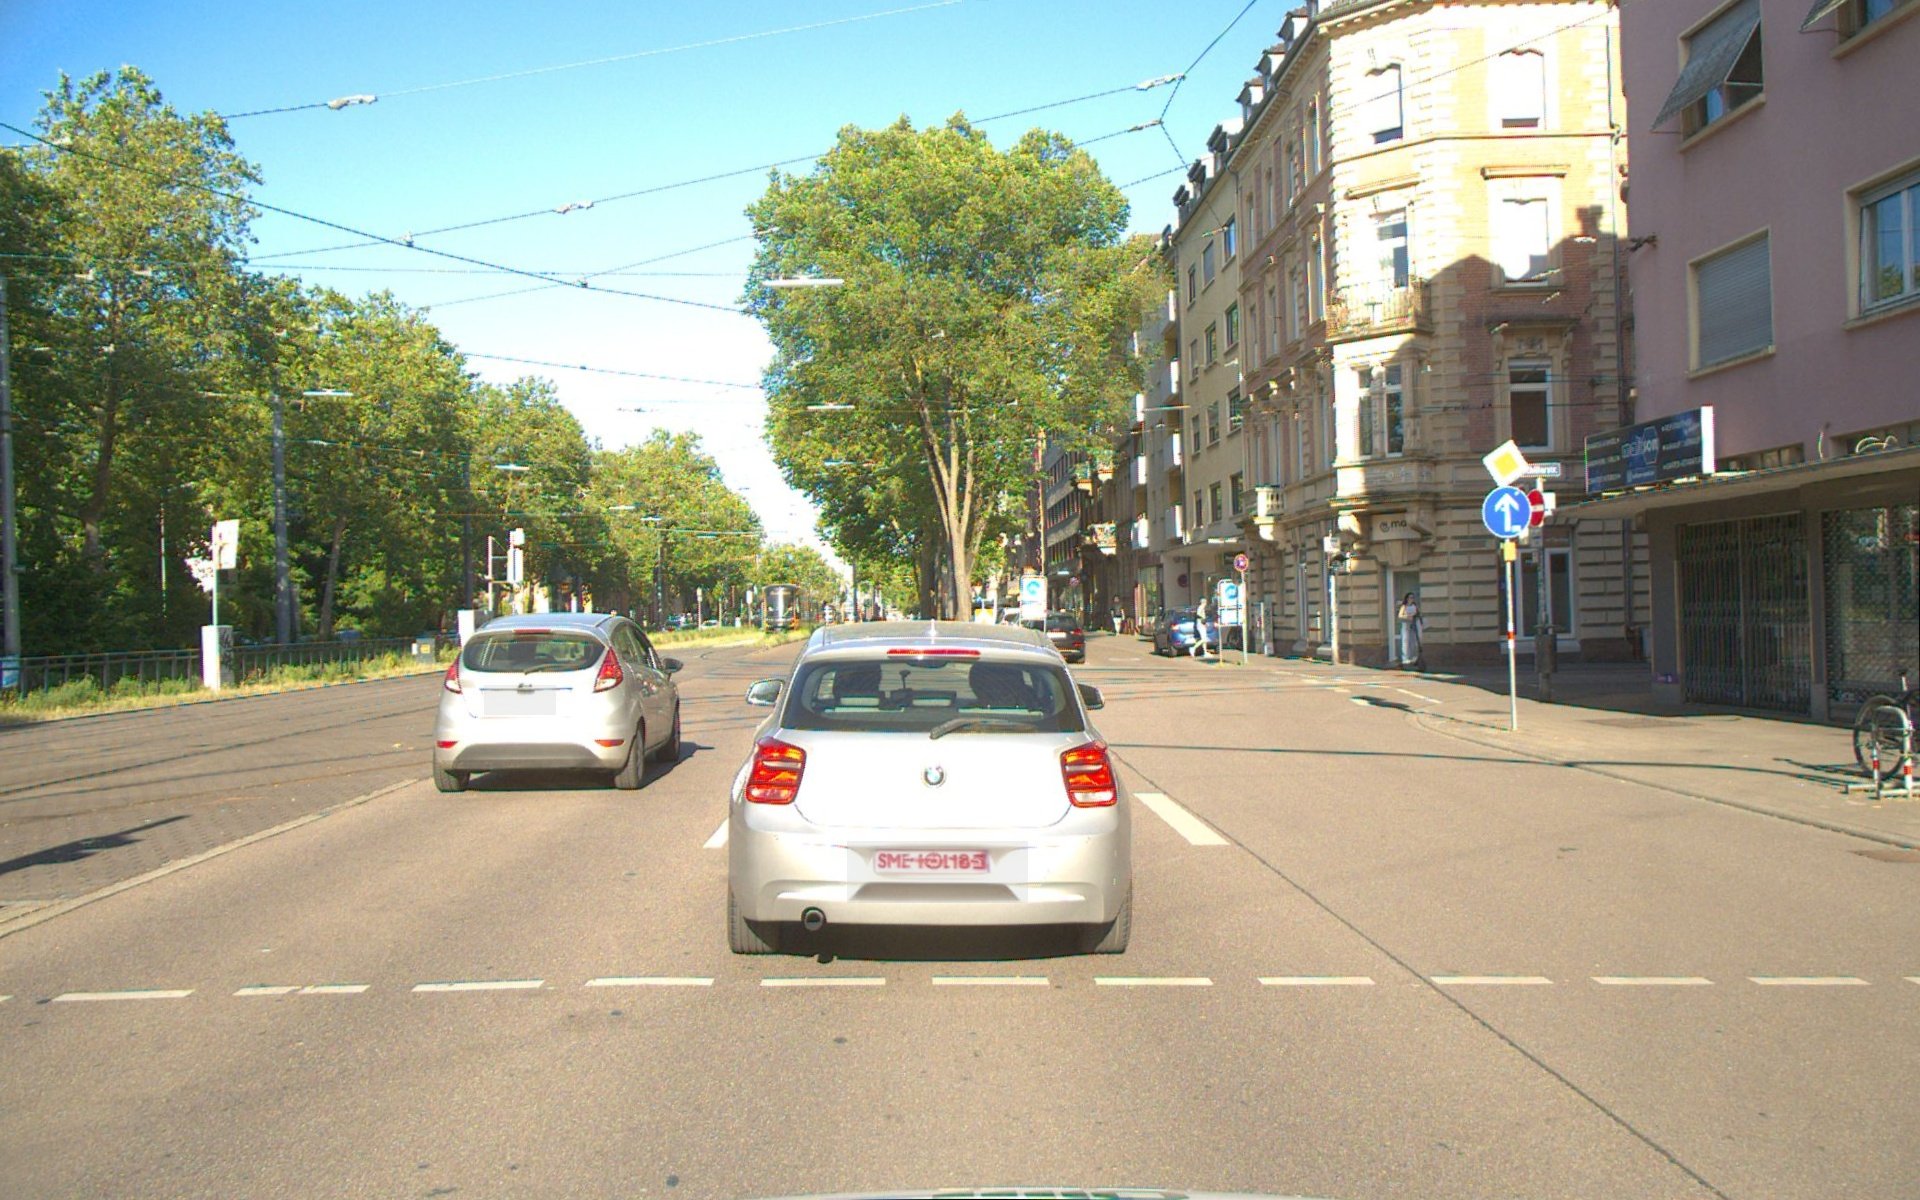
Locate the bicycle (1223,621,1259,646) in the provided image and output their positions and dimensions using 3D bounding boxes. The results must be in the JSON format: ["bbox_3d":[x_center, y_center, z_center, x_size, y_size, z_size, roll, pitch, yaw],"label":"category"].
[{"bbox_3d":[9.083,1.074,53.538,0.739,0.784,1.944,-1,0,-2],"label":"bicycle"}]

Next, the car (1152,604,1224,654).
[{"bbox_3d":[7.300,0.902,53.264,1.700,1.546,3.635,0,0,-2],"label":"car"}]

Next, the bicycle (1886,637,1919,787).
[{"bbox_3d":[7.683,0.883,12.572,0.405,1.161,1.810,-1,0,5],"label":"bicycle"}]

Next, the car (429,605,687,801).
[{"bbox_3d":[-3.465,0.806,14.897,1.577,1.493,3.887,-1,0,-4],"label":"car"}]

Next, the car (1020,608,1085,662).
[{"bbox_3d":[2.610,0.967,47.251,1.700,1.458,3.678,0,0,1],"label":"car"}]

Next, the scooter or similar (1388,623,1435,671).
[{"bbox_3d":[9.876,1.017,36.211,0.332,1.005,1.278,-1,0,-17],"label":"scooter or similar"}]

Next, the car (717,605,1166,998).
[{"bbox_3d":[-0.107,0.780,8.321,1.705,1.493,3.999,0,0,-1],"label":"car"}]

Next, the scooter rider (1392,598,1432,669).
[{"bbox_3d":[9.910,0.732,36.246,0.458,1.531,0.807,-1,0,-17],"label":"scooter rider"}]

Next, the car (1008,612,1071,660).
[{"bbox_3d":[2.492,1.114,52.638,1.709,1.458,3.553,0,0,-3],"label":"car"}]

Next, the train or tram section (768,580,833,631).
[{"bbox_3d":[-13.024,0.456,136.882,3.924,3.933,17.484,-1,0,-1],"label":"train or tram section"}]

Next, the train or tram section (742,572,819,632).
[{"bbox_3d":[-12.722,0.154,119.341,3.888,3.933,17.484,-1,0,-1],"label":"train or tram section"}]

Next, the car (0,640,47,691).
[{"bbox_3d":[-29.991,2.027,50.559,1.897,1.536,4.276,-1,-1,-2],"label":"car"}]

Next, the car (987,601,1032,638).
[{"bbox_3d":[2.115,0.817,71.255,1.690,1.533,3.553,0,0,-3],"label":"car"}]

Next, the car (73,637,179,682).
[{"bbox_3d":[-30.737,2.170,61.096,1.897,1.536,4.276,-1,-1,-2],"label":"car"}]

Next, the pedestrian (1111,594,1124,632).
[{"bbox_3d":[7.668,0.630,80.518,0.495,1.833,0.805,-1,0,-2],"label":"pedestrian"}]

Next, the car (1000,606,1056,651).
[{"bbox_3d":[2.381,0.980,58.426,1.690,1.533,3.553,0,0,-3],"label":"car"}]
